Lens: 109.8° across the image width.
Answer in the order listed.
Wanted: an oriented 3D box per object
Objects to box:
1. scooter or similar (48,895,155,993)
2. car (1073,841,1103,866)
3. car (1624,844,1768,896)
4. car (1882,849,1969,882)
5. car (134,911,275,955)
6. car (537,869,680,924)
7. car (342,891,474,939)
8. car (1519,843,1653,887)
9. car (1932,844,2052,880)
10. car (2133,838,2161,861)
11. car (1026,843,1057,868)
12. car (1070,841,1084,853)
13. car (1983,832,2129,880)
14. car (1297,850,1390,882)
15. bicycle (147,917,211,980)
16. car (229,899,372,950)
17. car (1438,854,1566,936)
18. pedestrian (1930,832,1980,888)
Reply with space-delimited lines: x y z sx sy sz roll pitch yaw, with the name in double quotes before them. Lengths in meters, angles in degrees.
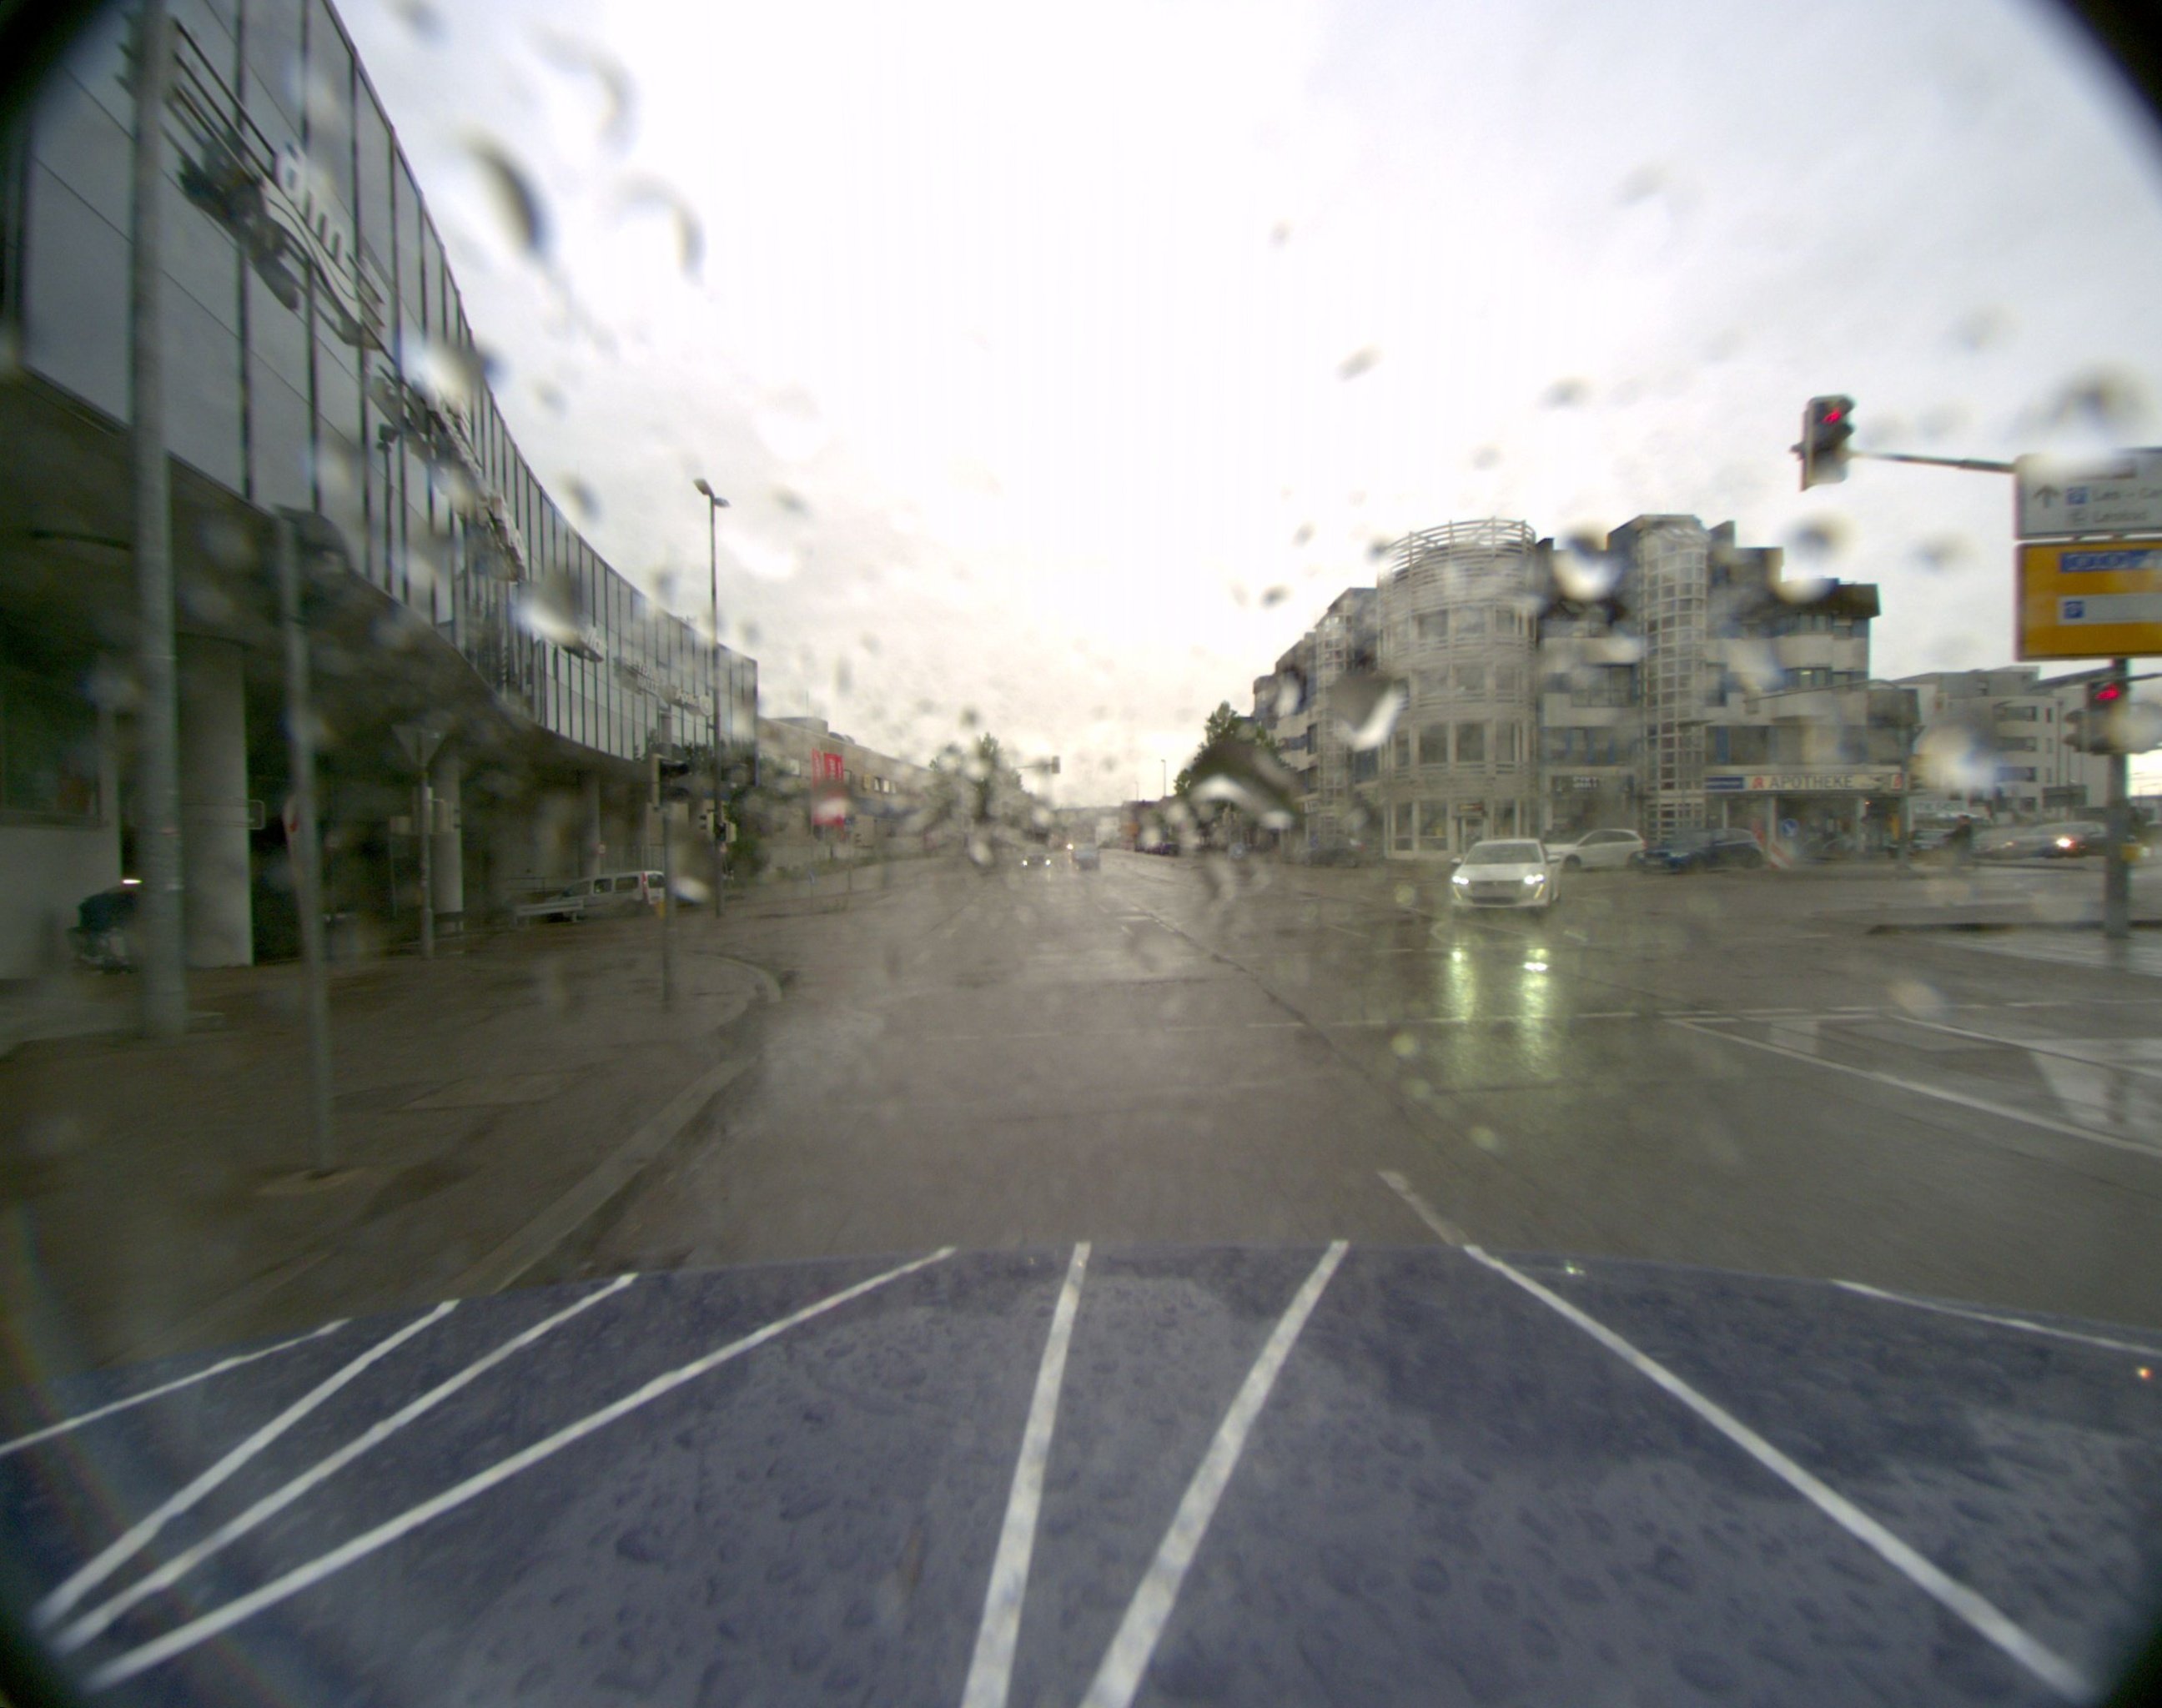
"scooter or similar" -14.904 1.335 11.598 0.489 1.364 1.168 -2 0 -25
"car" 0.404 -0.052 47.860 1.678 1.389 3.853 -2 2 -1
"car" 20.003 0.471 24.754 3.815 1.446 1.749 -2 2 -16
"car" 40.402 0.521 36.341 3.735 1.365 1.651 -2 3 -24
"car" -35.713 3.207 31.025 3.995 1.392 1.786 -3 1 8
"car" -18.538 1.647 29.948 4.293 1.787 1.932 -3 1 1
"car" -26.550 2.389 30.014 3.937 1.455 1.764 -5 2 11
"car" 18.744 0.396 28.270 4.063 1.519 1.733 -1 1 -9
"car" 39.367 0.324 32.867 3.975 1.361 1.799 -2 2 -15
"car" 82.115 -0.344 58.082 4.006 1.630 1.741 -2 2 -32
"car" -2.468 0.056 48.440 1.743 1.387 3.695 -2 2 0
"car" -0.659 -1.185 124.588 1.998 1.765 4.001 -2 -1 1
"car" 36.486 0.081 28.471 4.002 1.605 1.997 -2 -1 -16
"car" 13.110 0.599 38.104 1.738 1.436 4.036 -3 1 -39
"bicycle" -15.779 1.657 13.320 0.453 1.011 1.584 -2 -5 -40
"car" -31.278 2.804 30.493 4.257 1.603 1.638 -4 3 7
"car" 8.694 0.737 15.533 1.739 1.401 3.904 -1 0 37
"pedestrian" 25.177 0.166 21.892 0.914 1.576 0.656 -2 2 -20
